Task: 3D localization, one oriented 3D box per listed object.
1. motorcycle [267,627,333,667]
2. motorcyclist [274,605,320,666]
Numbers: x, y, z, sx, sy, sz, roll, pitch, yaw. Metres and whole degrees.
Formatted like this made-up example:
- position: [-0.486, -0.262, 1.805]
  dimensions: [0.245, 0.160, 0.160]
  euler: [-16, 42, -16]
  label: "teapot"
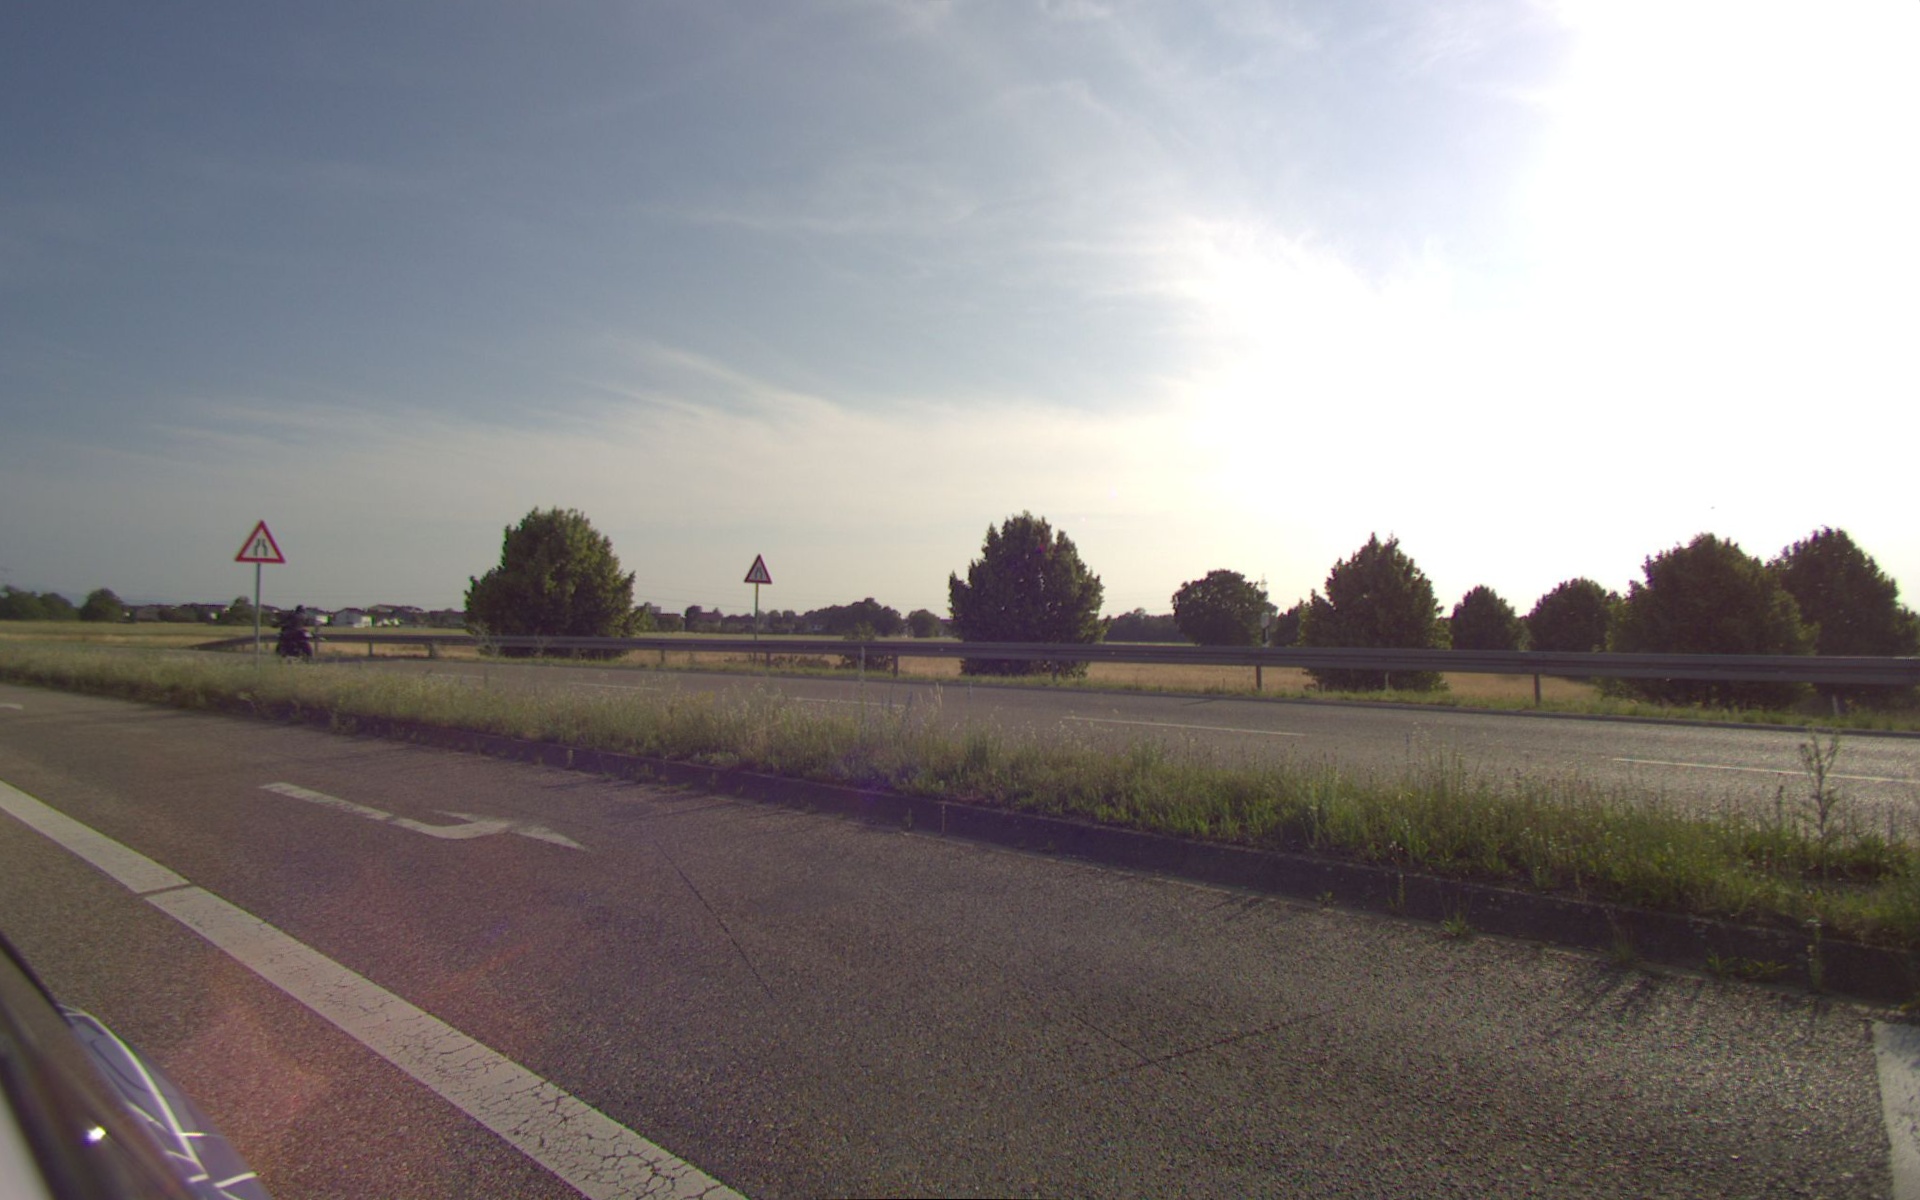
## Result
- position: [-19.719, 1.387, 30.224]
  dimensions: [2.166, 1.133, 0.929]
  euler: [-1, -1, 35]
  label: "motorcycle"
- position: [-19.869, 1.059, 30.340]
  dimensions: [0.830, 1.771, 0.896]
  euler: [-1, -1, 35]
  label: "motorcyclist"
